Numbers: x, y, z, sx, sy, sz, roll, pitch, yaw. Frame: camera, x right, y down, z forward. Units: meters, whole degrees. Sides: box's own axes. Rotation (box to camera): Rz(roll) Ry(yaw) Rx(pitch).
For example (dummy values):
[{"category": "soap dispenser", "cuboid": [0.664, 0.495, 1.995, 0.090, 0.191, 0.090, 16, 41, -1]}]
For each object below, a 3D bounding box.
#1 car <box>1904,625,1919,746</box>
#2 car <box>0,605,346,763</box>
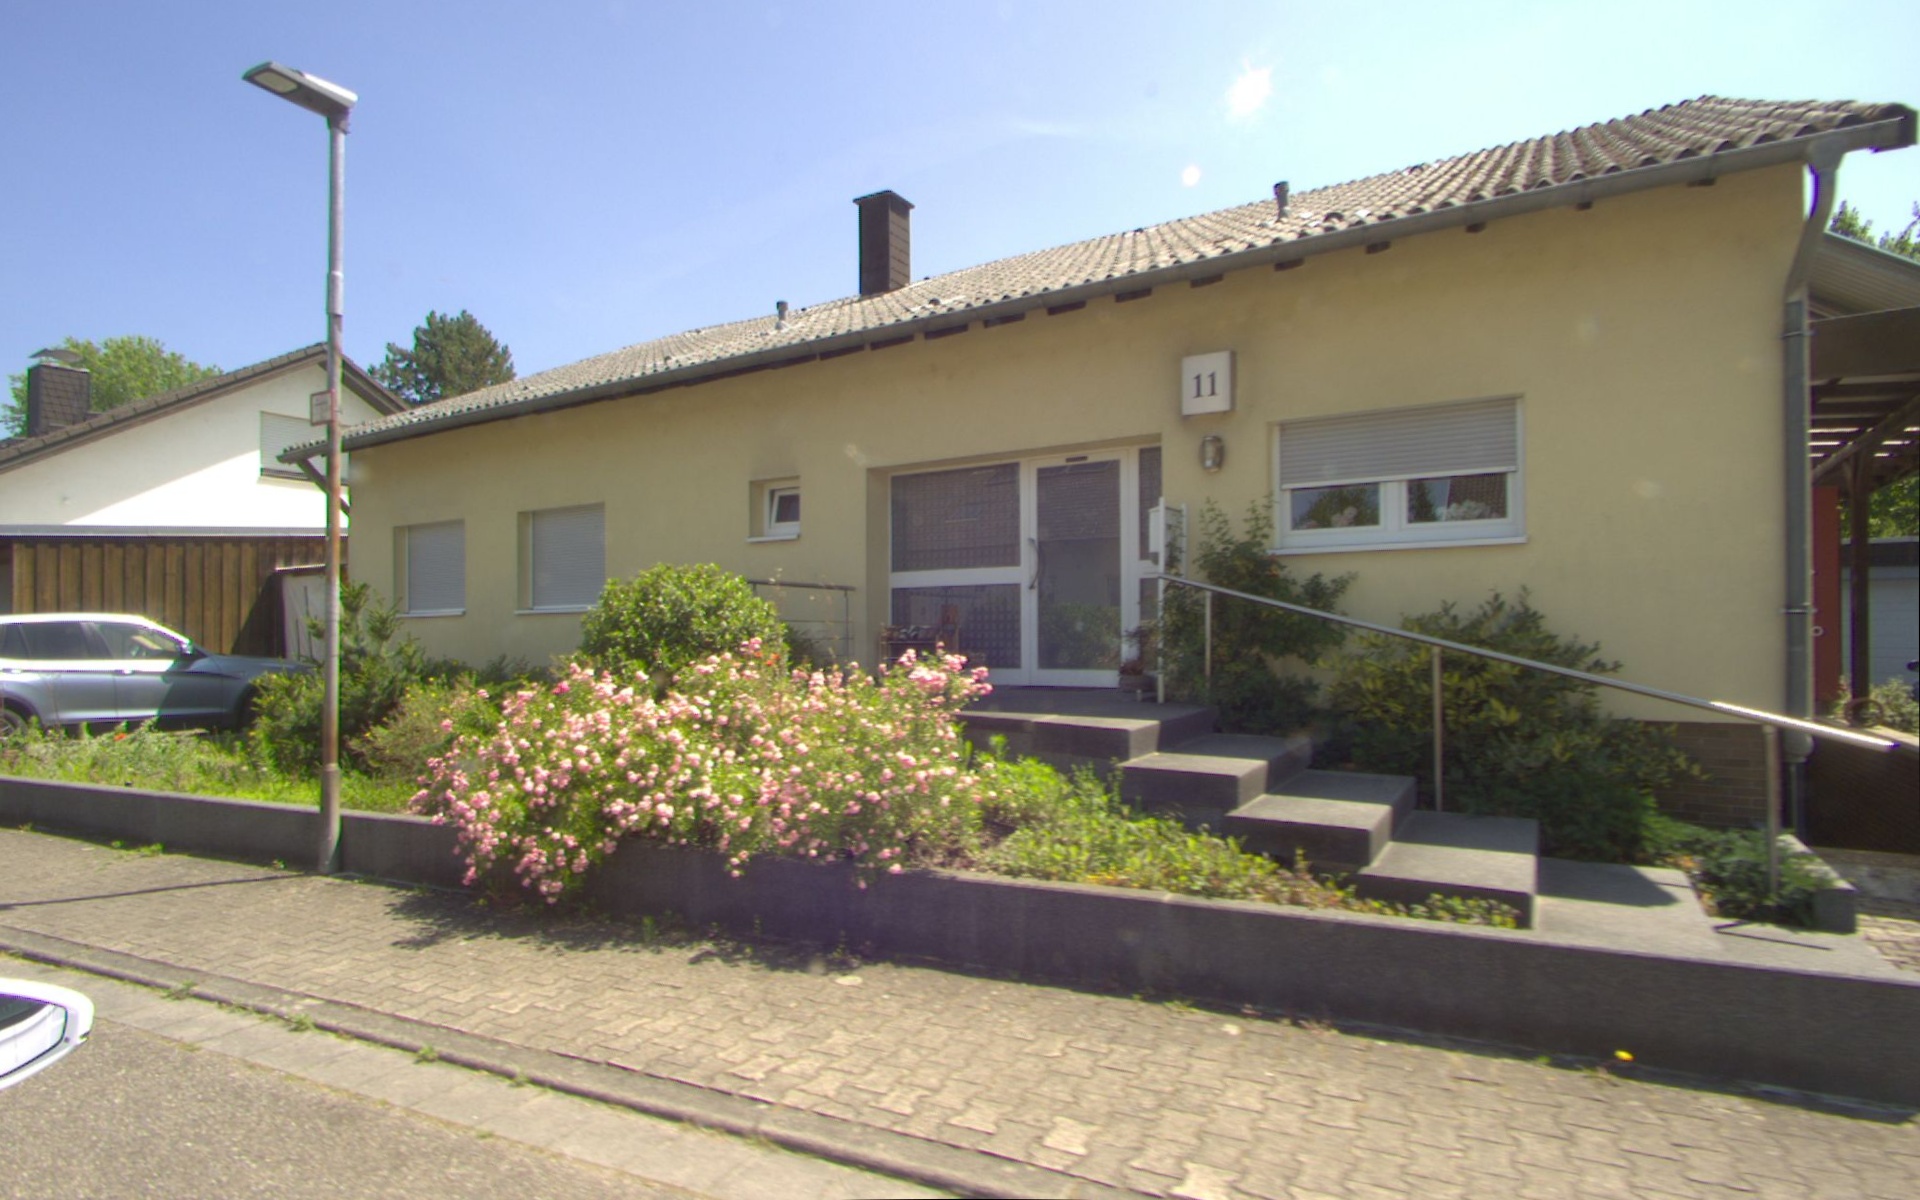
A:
[{"category": "car", "cuboid": [11.917, 1.029, 10.983, 1.596, 1.474, 3.238, -1, -1, 31]}, {"category": "car", "cuboid": [-10.515, 0.940, 12.473, 1.686, 1.724, 4.615, -1, -1, 34]}]
